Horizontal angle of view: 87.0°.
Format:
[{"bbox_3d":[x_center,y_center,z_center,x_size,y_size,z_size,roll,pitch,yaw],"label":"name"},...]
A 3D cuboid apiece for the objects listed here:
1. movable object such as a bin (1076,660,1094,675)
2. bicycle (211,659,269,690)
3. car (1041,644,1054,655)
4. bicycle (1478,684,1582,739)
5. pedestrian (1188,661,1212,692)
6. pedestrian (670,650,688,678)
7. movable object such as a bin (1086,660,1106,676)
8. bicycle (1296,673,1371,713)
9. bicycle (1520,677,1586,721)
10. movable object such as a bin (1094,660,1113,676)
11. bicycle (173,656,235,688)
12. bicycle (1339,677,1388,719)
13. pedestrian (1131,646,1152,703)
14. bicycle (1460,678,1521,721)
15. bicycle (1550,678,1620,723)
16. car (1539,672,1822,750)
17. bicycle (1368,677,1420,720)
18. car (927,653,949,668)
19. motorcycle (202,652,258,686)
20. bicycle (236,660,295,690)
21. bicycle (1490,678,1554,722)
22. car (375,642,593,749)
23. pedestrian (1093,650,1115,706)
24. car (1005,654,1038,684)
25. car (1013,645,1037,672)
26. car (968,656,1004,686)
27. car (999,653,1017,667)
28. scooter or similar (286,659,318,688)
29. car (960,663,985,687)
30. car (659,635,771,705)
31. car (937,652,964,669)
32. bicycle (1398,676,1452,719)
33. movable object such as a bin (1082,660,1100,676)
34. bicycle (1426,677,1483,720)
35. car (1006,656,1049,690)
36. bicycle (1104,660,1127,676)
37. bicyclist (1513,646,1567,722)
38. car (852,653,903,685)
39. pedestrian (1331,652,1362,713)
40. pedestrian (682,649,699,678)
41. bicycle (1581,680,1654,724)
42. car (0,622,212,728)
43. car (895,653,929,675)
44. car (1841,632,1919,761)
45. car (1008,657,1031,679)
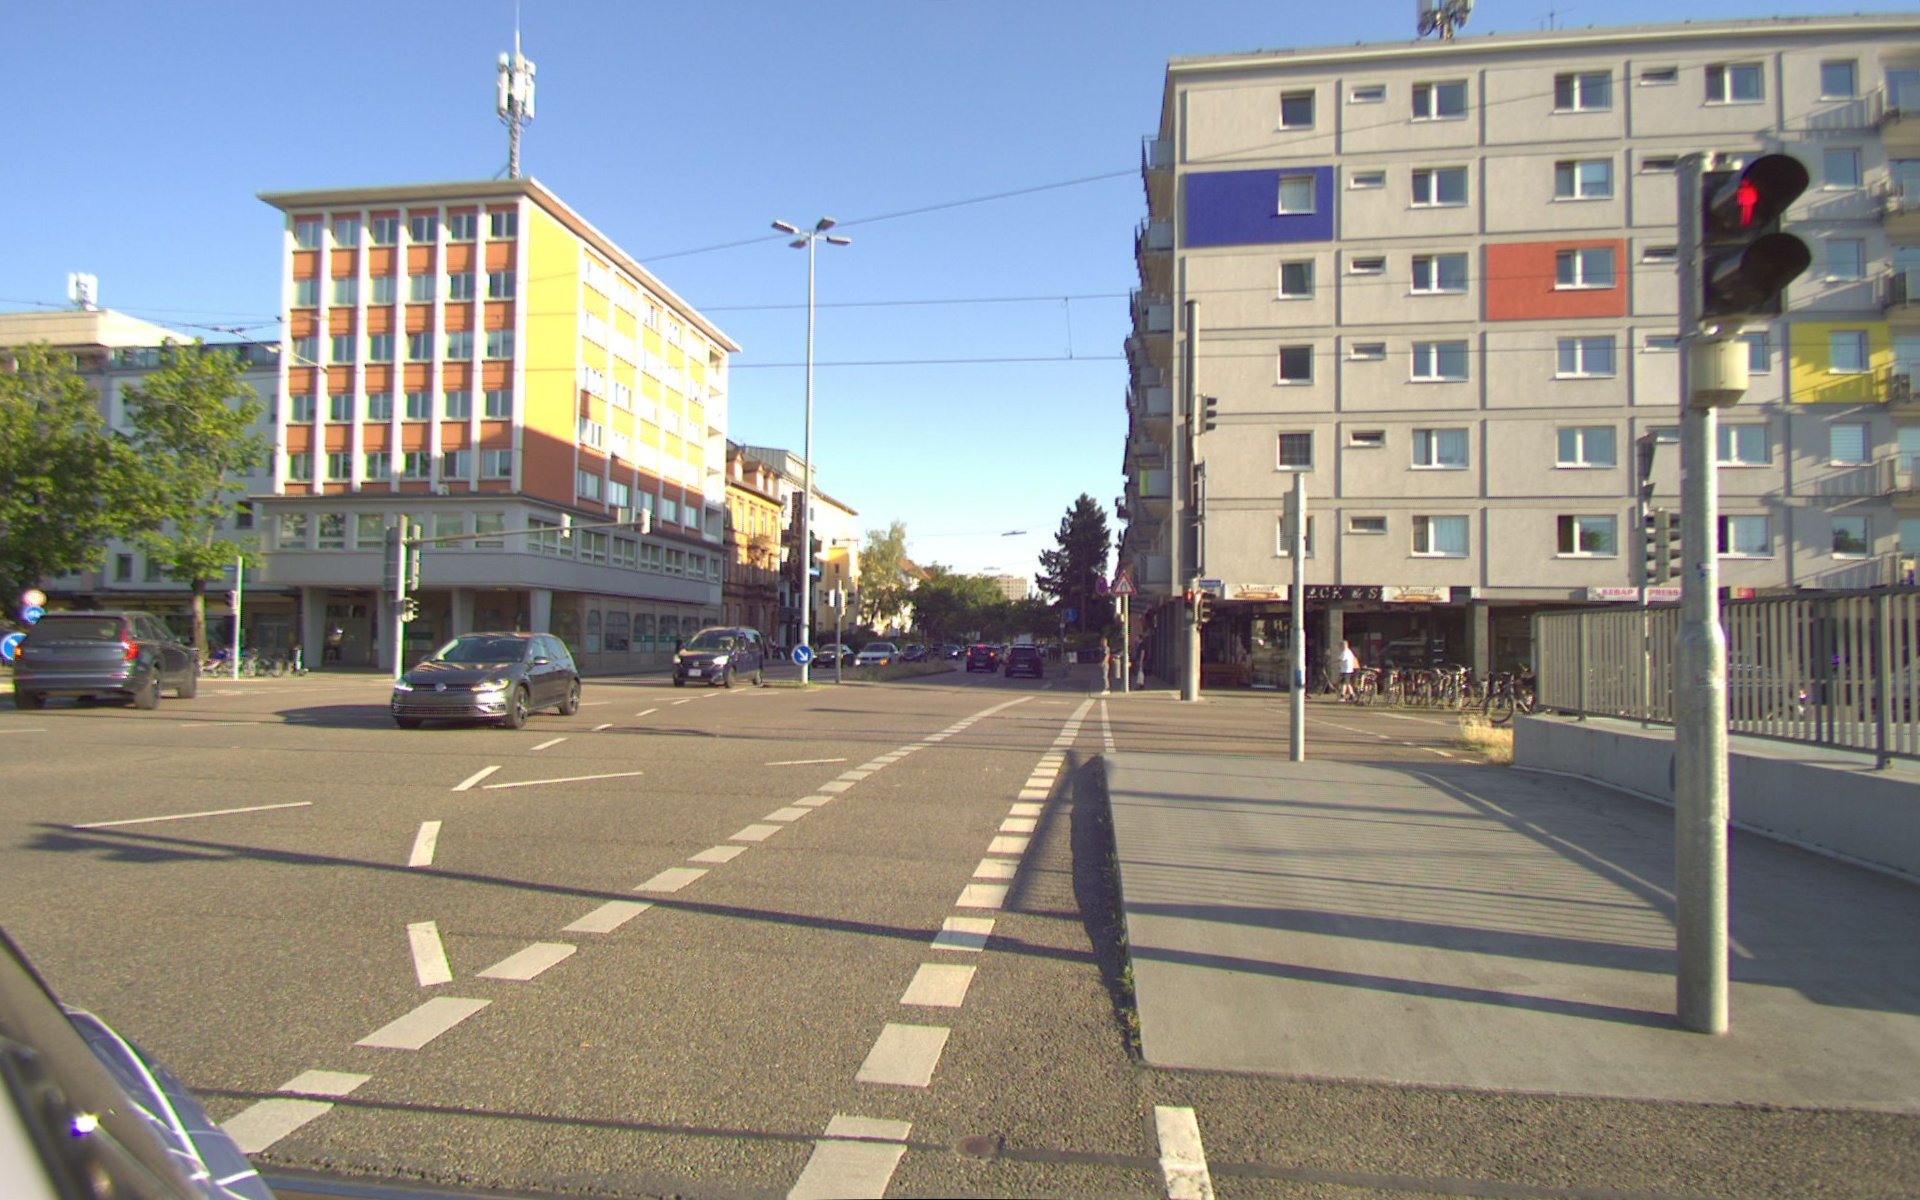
[{"bbox_3d":[10.142,5.489,82.131,1.173,1.242,0.852,3,-4,-31],"label":"movable object such as a bin"},{"bbox_3d":[-28.674,2.953,40.310,1.983,1.123,0.592,2,-3,8],"label":"bicycle"},{"bbox_3d":[14.104,7.947,162.651,1.582,1.554,3.388,1,-3,15],"label":"car"},{"bbox_3d":[12.547,2.448,22.341,1.763,1.106,0.949,1,-4,10],"label":"bicycle"},{"bbox_3d":[10.364,3.291,43.726,0.615,1.324,0.812,3,-4,-34],"label":"pedestrian"},{"bbox_3d":[-17.644,4.011,63.603,0.661,1.739,1.008,0,-3,10],"label":"pedestrian"},{"bbox_3d":[10.814,5.388,80.404,1.270,1.242,0.932,3,-4,-31],"label":"movable object such as a bin"},{"bbox_3d":[11.152,2.784,30.246,2.043,1.100,0.518,1,-4,9],"label":"bicycle"},{"bbox_3d":[15.978,2.660,27.332,0.728,1.059,2.293,0,-3,8],"label":"bicycle"},{"bbox_3d":[11.269,5.341,79.576,1.173,1.242,0.852,3,-4,-31],"label":"movable object such as a bin"},{"bbox_3d":[-28.891,2.765,38.682,1.954,1.124,0.592,2,-3,7],"label":"bicycle"},{"bbox_3d":[11.185,2.689,28.113,0.728,1.059,2.293,0,-3,8],"label":"bicycle"},{"bbox_3d":[6.125,2.500,34.159,0.603,1.890,0.810,-2,-4,9],"label":"pedestrian"},{"bbox_3d":[14.449,2.688,27.621,0.728,1.059,2.293,0,-3,8],"label":"bicycle"},{"bbox_3d":[16.764,2.679,27.201,0.728,1.059,2.293,0,-3,8],"label":"bicycle"},{"bbox_3d":[14.098,2.151,20.033,4.151,1.323,1.797,0,-3,8],"label":"car"},{"bbox_3d":[11.980,2.692,28.007,0.728,1.059,2.293,0,-3,8],"label":"bicycle"},{"bbox_3d":[-2.506,6.939,115.789,1.926,1.637,4.182,0,-3,8],"label":"car"},{"bbox_3d":[-31.431,2.944,43.598,0.831,1.403,2.267,0,-3,-3],"label":"motorcycle"},{"bbox_3d":[-28.522,3.075,41.559,2.037,1.123,0.592,2,-3,7],"label":"bicycle"},{"bbox_3d":[15.224,2.692,27.481,0.728,1.059,2.293,0,-3,8],"label":"bicycle"},{"bbox_3d":[-7.462,1.464,16.372,1.745,1.470,4.273,1,-3,-4],"label":"car"},{"bbox_3d":[4.690,2.530,32.977,0.604,1.800,0.809,-3,-4,12],"label":"pedestrian"},{"bbox_3d":[3.934,4.351,64.024,1.800,1.724,4.776,2,-3,6],"label":"car"},{"bbox_3d":[6.827,6.141,106.564,2.112,2.777,4.454,1,-3,8],"label":"car"},{"bbox_3d":[1.487,3.989,57.234,1.565,1.556,3.467,2,-3,9],"label":"car"},{"bbox_3d":[5.647,7.020,118.312,1.704,1.641,4.093,2,-3,7],"label":"car"},{"bbox_3d":[-29.576,3.290,45.456,1.555,1.245,0.480,0,-3,29],"label":"scooter or similar"},{"bbox_3d":[0.901,5.258,71.602,1.658,1.556,3.803,2,-3,2],"label":"car"},{"bbox_3d":[-7.178,2.041,30.138,1.873,1.868,4.459,2,-3,5],"label":"car"},{"bbox_3d":[-0.871,5.682,95.108,1.886,1.552,3.989,0,-3,8],"label":"car"},{"bbox_3d":[12.782,2.676,27.913,0.728,1.059,2.293,0,-3,8],"label":"bicycle"},{"bbox_3d":[10.558,5.443,81.350,1.173,1.242,0.852,3,-4,-31],"label":"movable object such as a bin"},{"bbox_3d":[13.563,2.690,27.816,0.728,1.059,2.293,0,-3,8],"label":"bicycle"},{"bbox_3d":[3.375,3.609,50.164,1.780,1.577,4.136,1,-4,8],"label":"car"},{"bbox_3d":[12.099,5.284,78.952,1.760,1.200,0.472,0,-3,7],"label":"bicycle"},{"bbox_3d":[12.784,1.835,22.346,0.730,1.610,0.960,1,-4,9],"label":"bicyclist"},{"bbox_3d":[-4.347,3.646,53.898,1.886,1.552,3.989,0,-3,8],"label":"car"},{"bbox_3d":[11.325,2.410,29.666,0.603,1.736,0.683,-2,-4,8],"label":"pedestrian"},{"bbox_3d":[-16.910,3.971,63.457,0.661,1.739,1.008,0,-3,10],"label":"pedestrian"},{"bbox_3d":[17.565,2.708,27.106,0.728,1.059,2.293,0,-3,8],"label":"bicycle"},{"bbox_3d":[-16.012,1.308,19.198,1.965,1.737,5.047,2,-2,-26],"label":"car"},{"bbox_3d":[-3.697,4.911,78.094,1.886,1.552,3.989,0,-3,8],"label":"car"},{"bbox_3d":[17.587,1.572,16.198,4.880,2.029,1.995,0,-3,8],"label":"car"},{"bbox_3d":[4.568,5.226,78.014,1.658,1.556,3.634,2,-3,3],"label":"car"}]
